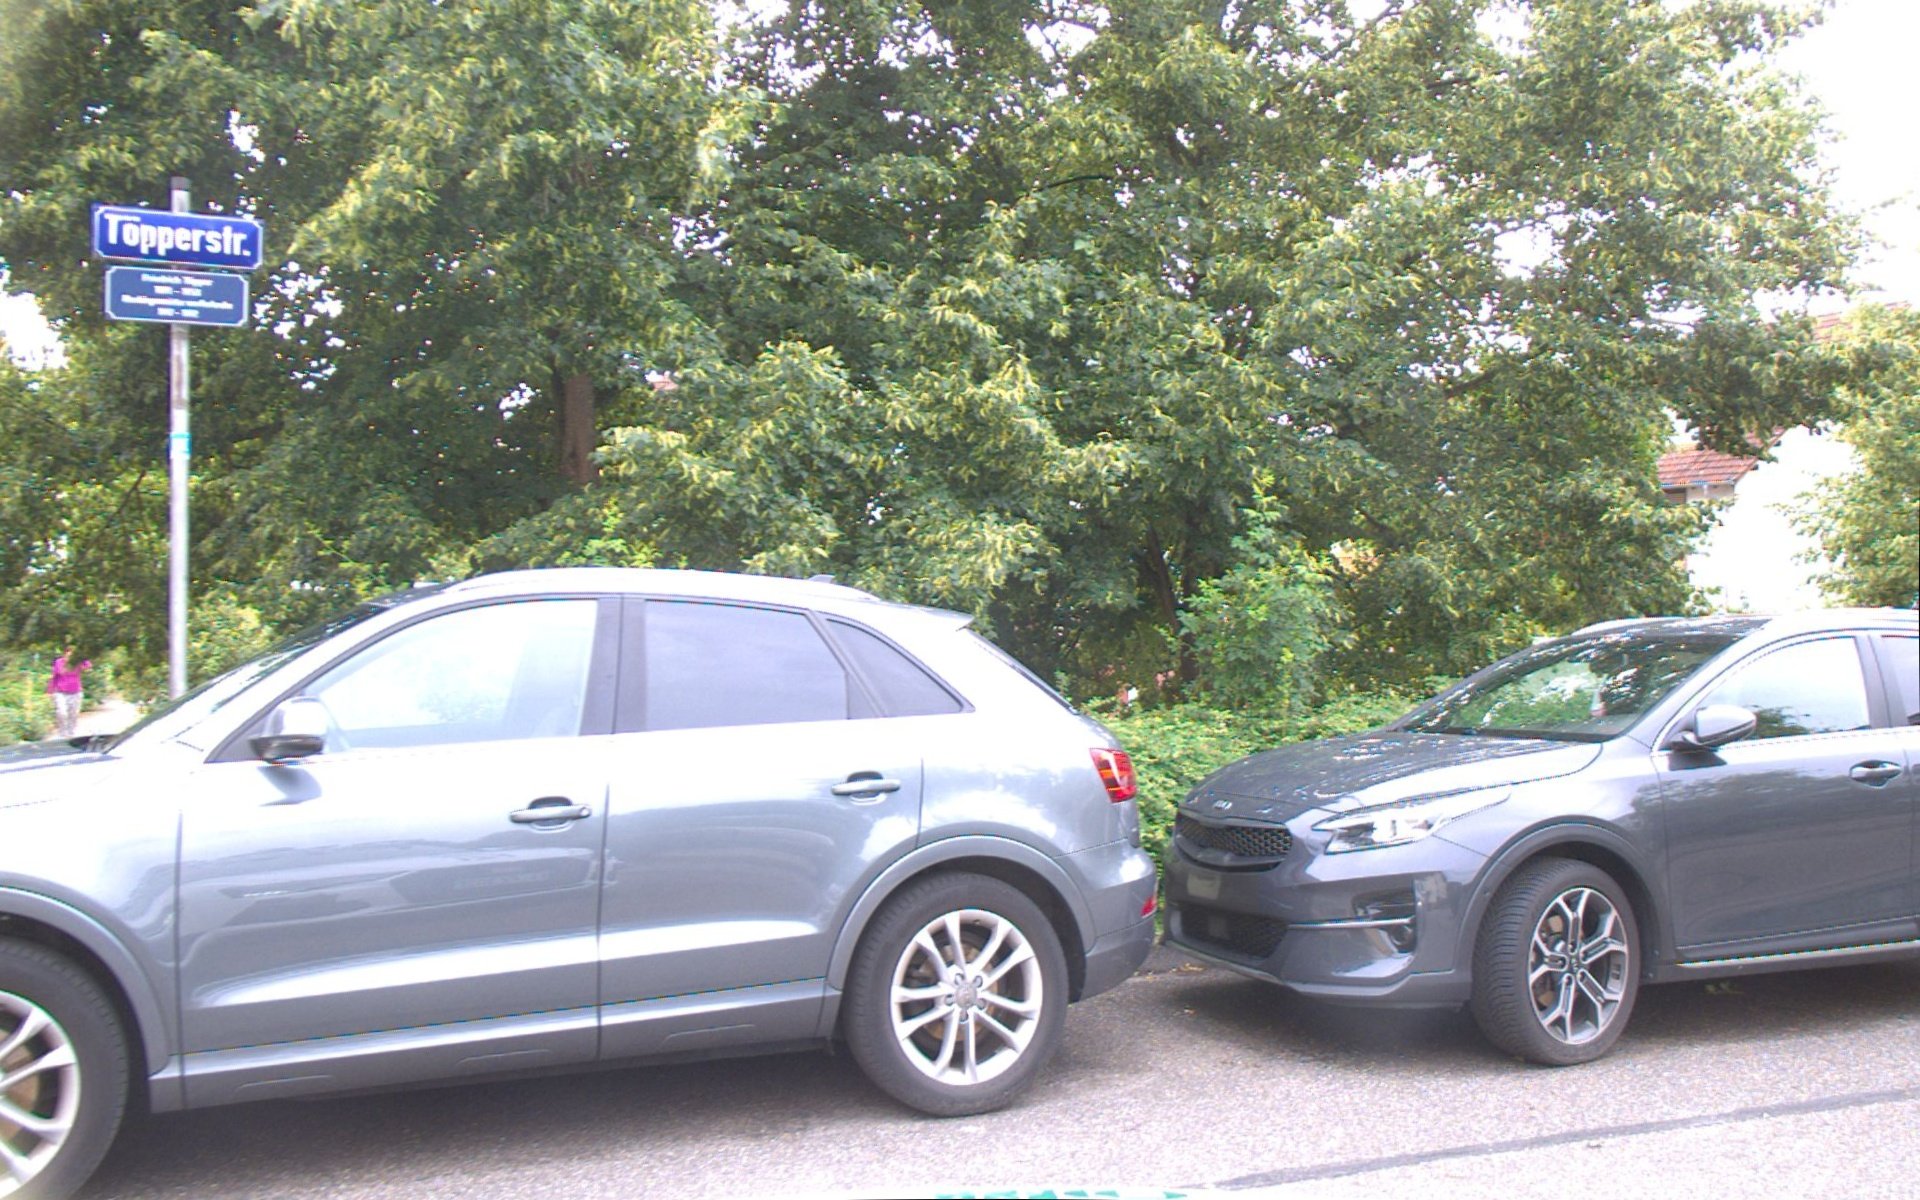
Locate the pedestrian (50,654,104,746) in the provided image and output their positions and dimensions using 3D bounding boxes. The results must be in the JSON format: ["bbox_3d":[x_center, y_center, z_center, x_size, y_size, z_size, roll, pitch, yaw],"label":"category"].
[{"bbox_3d":[-15.387,1.731,28.837,0.805,1.544,0.435,0,-1,-26],"label":"pedestrian"}]

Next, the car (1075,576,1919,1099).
[{"bbox_3d":[2.680,0.733,6.463,4.119,1.558,1.737,0,-2,-20],"label":"car"}]

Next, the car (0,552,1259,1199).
[{"bbox_3d":[-1.353,0.702,4.899,4.182,1.558,1.734,0,-2,-25],"label":"car"}]
